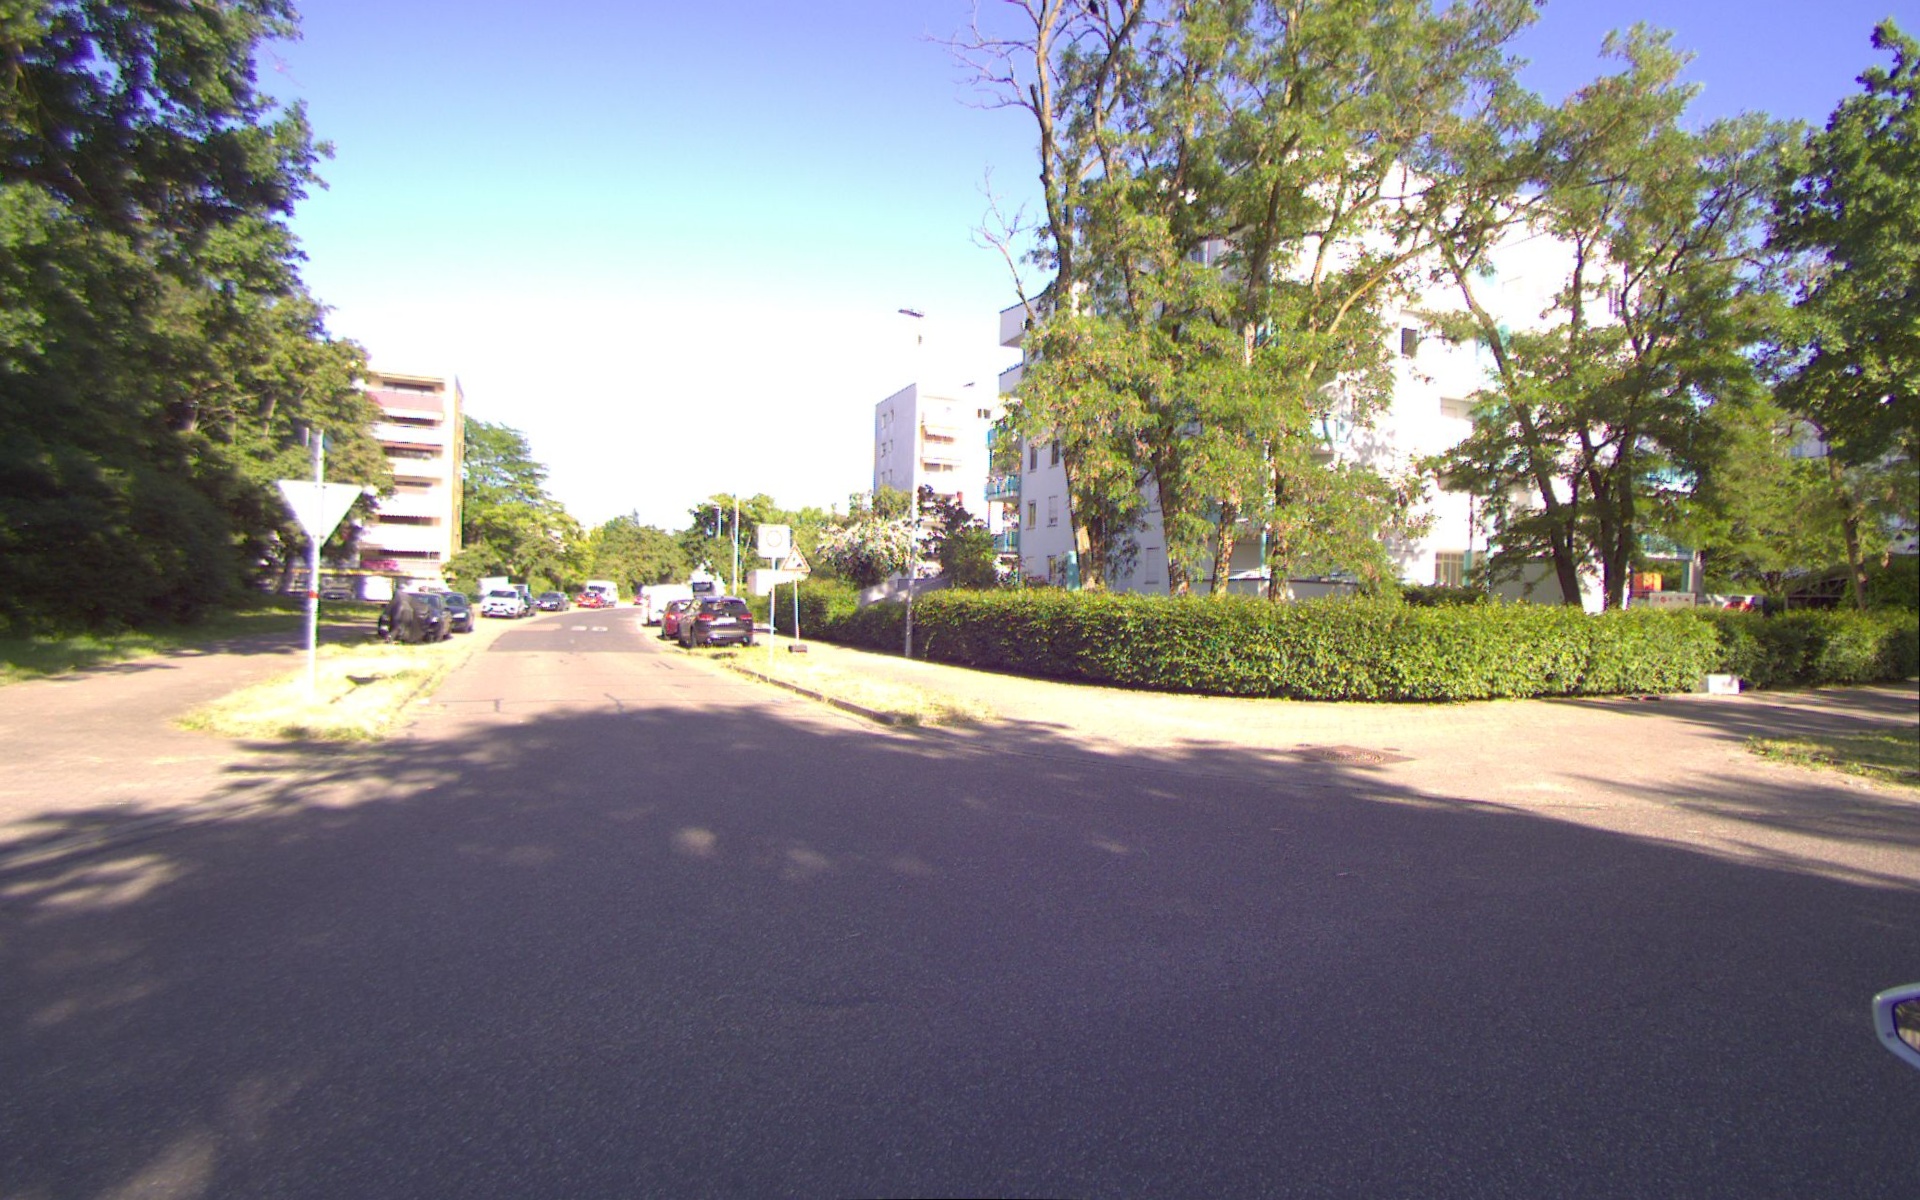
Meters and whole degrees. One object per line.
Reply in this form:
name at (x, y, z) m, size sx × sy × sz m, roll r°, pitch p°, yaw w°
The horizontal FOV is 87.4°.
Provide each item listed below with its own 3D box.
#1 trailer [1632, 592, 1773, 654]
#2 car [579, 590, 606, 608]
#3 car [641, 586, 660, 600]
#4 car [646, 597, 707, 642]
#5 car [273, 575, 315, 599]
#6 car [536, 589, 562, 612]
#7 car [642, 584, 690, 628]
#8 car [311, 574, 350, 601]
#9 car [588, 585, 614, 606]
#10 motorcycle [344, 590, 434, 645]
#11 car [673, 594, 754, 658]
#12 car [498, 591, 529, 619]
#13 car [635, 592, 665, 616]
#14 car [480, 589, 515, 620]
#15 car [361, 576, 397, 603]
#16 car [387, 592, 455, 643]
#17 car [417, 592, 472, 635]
trailer at (26.025, 0.810, 35.210) m, size 4.365 × 2.070 × 1.972 m, roll 1°, pitch 0°, yaw -22°
car at (-33.532, -0.094, 91.643) m, size 1.796 × 1.617 × 3.989 m, roll 2°, pitch 0°, yaw -13°
car at (-38.764, -0.826, 125.990) m, size 1.860 × 1.662 × 3.991 m, roll 2°, pitch 0°, yaw -12°
car at (-10.536, 0.700, 37.220) m, size 1.615 × 1.531 × 3.813 m, roll 1°, pitch 0°, yaw -24°
car at (-45.811, -0.881, 69.189) m, size 1.775 × 1.547 × 3.813 m, roll 1°, pitch 0°, yaw -24°
car at (-30.201, 0.051, 73.760) m, size 1.623 × 1.578 × 3.813 m, roll 1°, pitch 0°, yaw -24°
car at (-14.769, 0.294, 50.340) m, size 1.803 × 2.088 × 3.813 m, roll 1°, pitch 0°, yaw -24°
car at (-44.111, -0.879, 70.467) m, size 1.738 × 1.767 × 3.813 m, roll 1°, pitch 0°, yaw -24°
car at (-34.555, -0.474, 96.756) m, size 1.950 × 1.925 × 3.989 m, roll 2°, pitch 0°, yaw -13°
motorcycle at (-14.969, 0.452, 26.369) m, size 0.664 × 1.362 × 1.955 m, roll 2°, pitch 0°, yaw 34°
car at (-7.653, 0.753, 30.942) m, size 1.732 × 1.808 × 3.813 m, roll 1°, pitch 0°, yaw -24°
car at (-26.613, 0.264, 59.859) m, size 1.623 × 1.578 × 3.813 m, roll 1°, pitch 0°, yaw -24°
car at (-20.163, 0.230, 65.248) m, size 1.499 × 1.486 × 3.056 m, roll 1°, pitch 0°, yaw -23°
car at (-25.066, 0.215, 54.545) m, size 1.623 × 1.578 × 3.813 m, roll 1°, pitch 0°, yaw -24°
car at (-41.263, -0.745, 71.376) m, size 1.738 × 1.767 × 3.813 m, roll 1°, pitch 0°, yaw -24°
car at (-16.344, 0.510, 30.591) m, size 1.538 × 1.410 × 3.567 m, roll 1°, pitch 0°, yaw -24°
car at (-18.561, 0.456, 36.295) m, size 1.538 × 1.410 × 3.567 m, roll 1°, pitch 0°, yaw -24°
